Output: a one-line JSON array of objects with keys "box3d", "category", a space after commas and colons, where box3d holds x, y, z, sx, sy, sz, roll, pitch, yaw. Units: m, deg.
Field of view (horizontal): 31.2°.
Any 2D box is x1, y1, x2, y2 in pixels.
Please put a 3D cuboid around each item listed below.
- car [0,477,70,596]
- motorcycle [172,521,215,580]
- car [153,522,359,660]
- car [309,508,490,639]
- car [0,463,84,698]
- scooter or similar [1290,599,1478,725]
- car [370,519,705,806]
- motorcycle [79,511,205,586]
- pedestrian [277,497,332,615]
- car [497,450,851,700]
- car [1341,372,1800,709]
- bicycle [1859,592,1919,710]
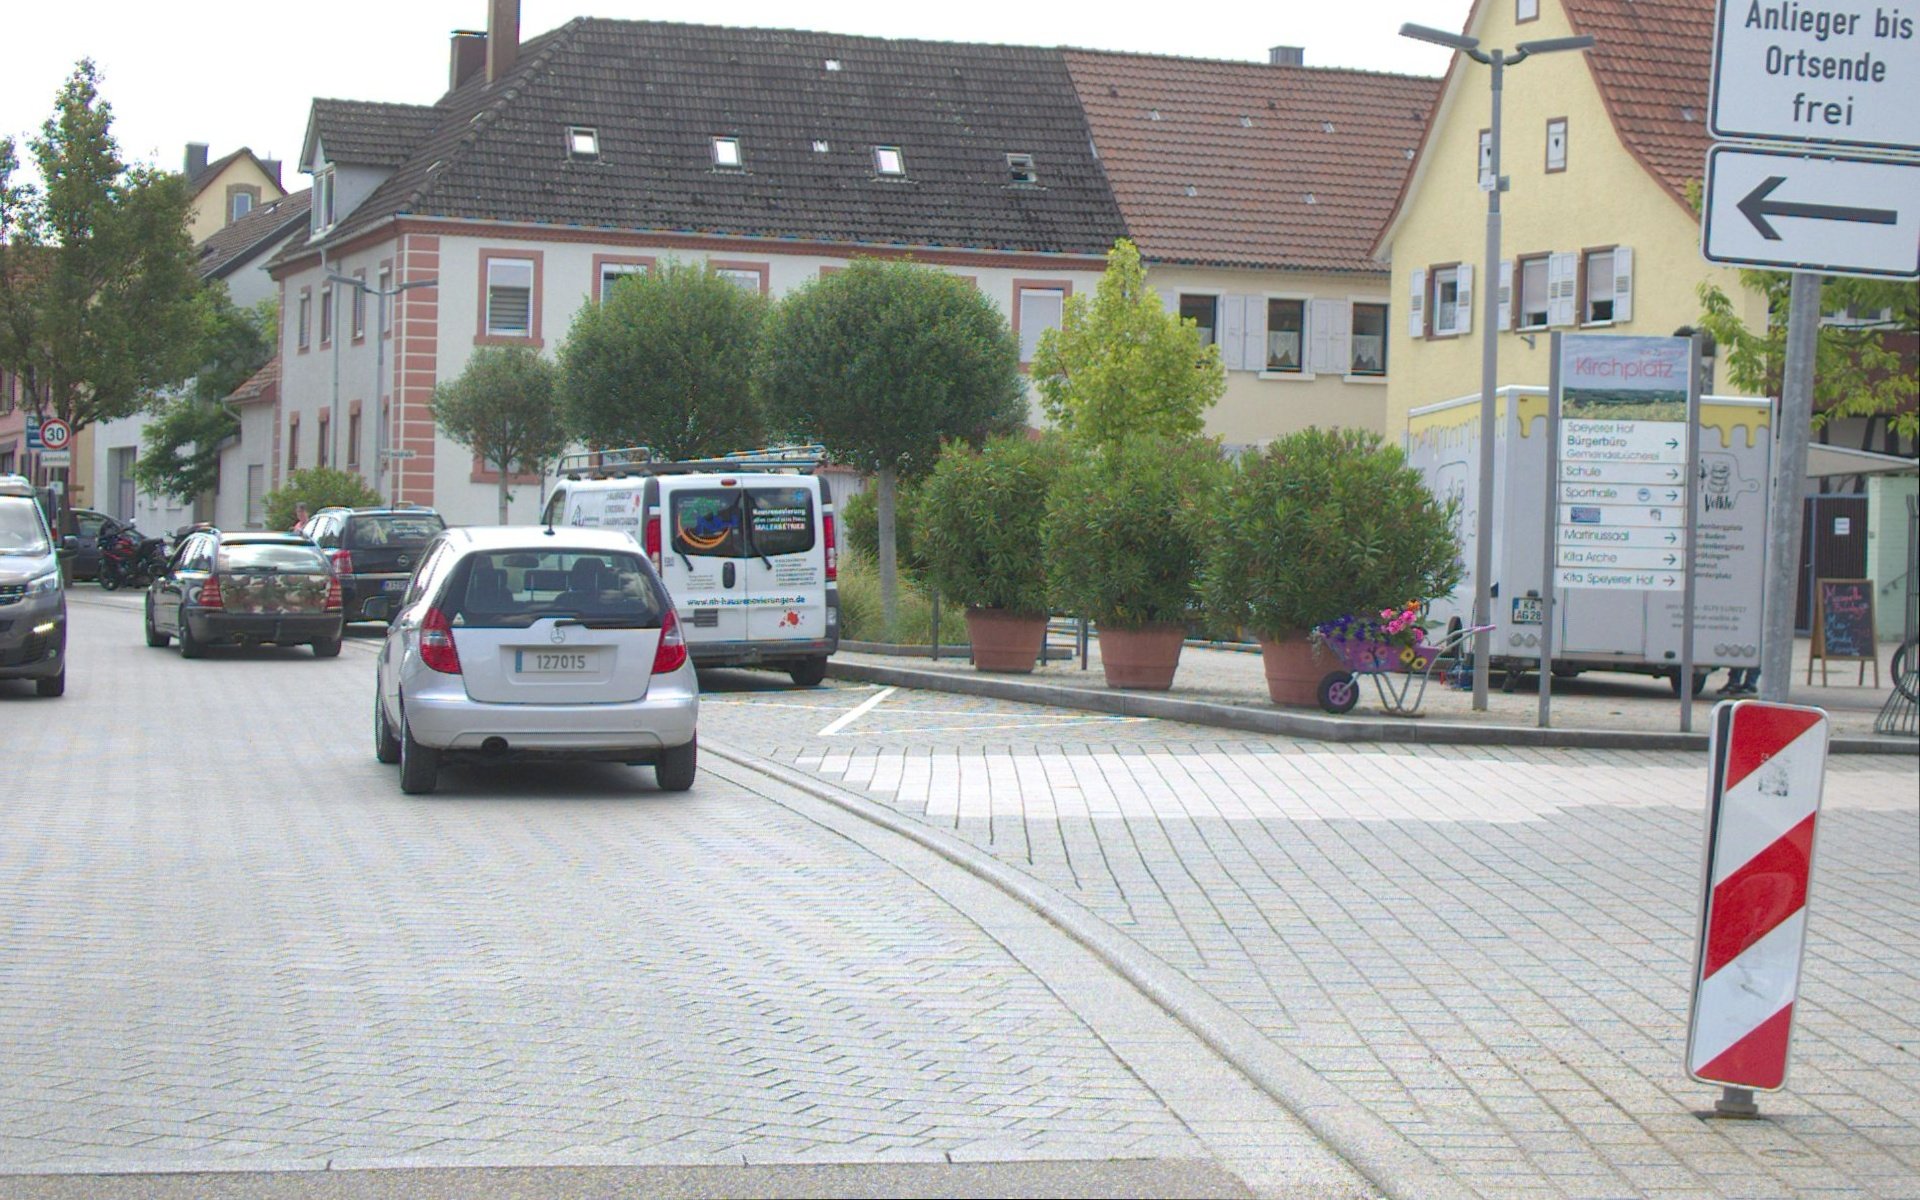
[{"box3d": [-16.247, -1.089, 58.025, 1.768, 1.881, 4.448, 4, 0, -21], "category": "car"}, {"box3d": [-15.024, -0.976, 67.363, 0.523, 1.119, 1.068, 1, 2, -29], "category": "motorcycle"}, {"box3d": [-7.971, -0.136, 38.691, 1.944, 1.402, 4.002, 1, 1, -16], "category": "car"}, {"box3d": [-7.193, -0.370, 43.832, 1.768, 1.559, 4.420, 1, 1, -16], "category": "car"}, {"box3d": [-9.132, -0.247, 31.617, 1.993, 2.006, 4.741, 1, 2, -14], "category": "car"}, {"box3d": [3.094, 0.447, 25.126, 1.141, 0.878, 0.816, 1, 1, -12], "category": "scooter or similar"}, {"box3d": [-2.762, 0.321, 21.773, 1.768, 1.589, 4.001, 1, 1, -11], "category": "car"}, {"box3d": [-15.515, -0.977, 65.215, 2.221, 1.390, 0.872, 1, 1, 21], "category": "motorcycle"}, {"box3d": [-9.120, -0.618, 47.812, 0.638, 1.623, 0.620, 1, 1, -19], "category": "pedestrian"}, {"box3d": [-2.819, -0.307, 32.672, 1.942, 2.170, 5.103, -1, 2, -22], "category": "car"}, {"box3d": [5.948, -0.581, 34.805, 2.752, 2.953, 7.115, 2, 1, -5], "category": "car"}, {"box3d": [9.316, 0.497, 31.894, 0.754, 1.064, 2.112, 1, 1, -22], "category": "bicycle"}]
